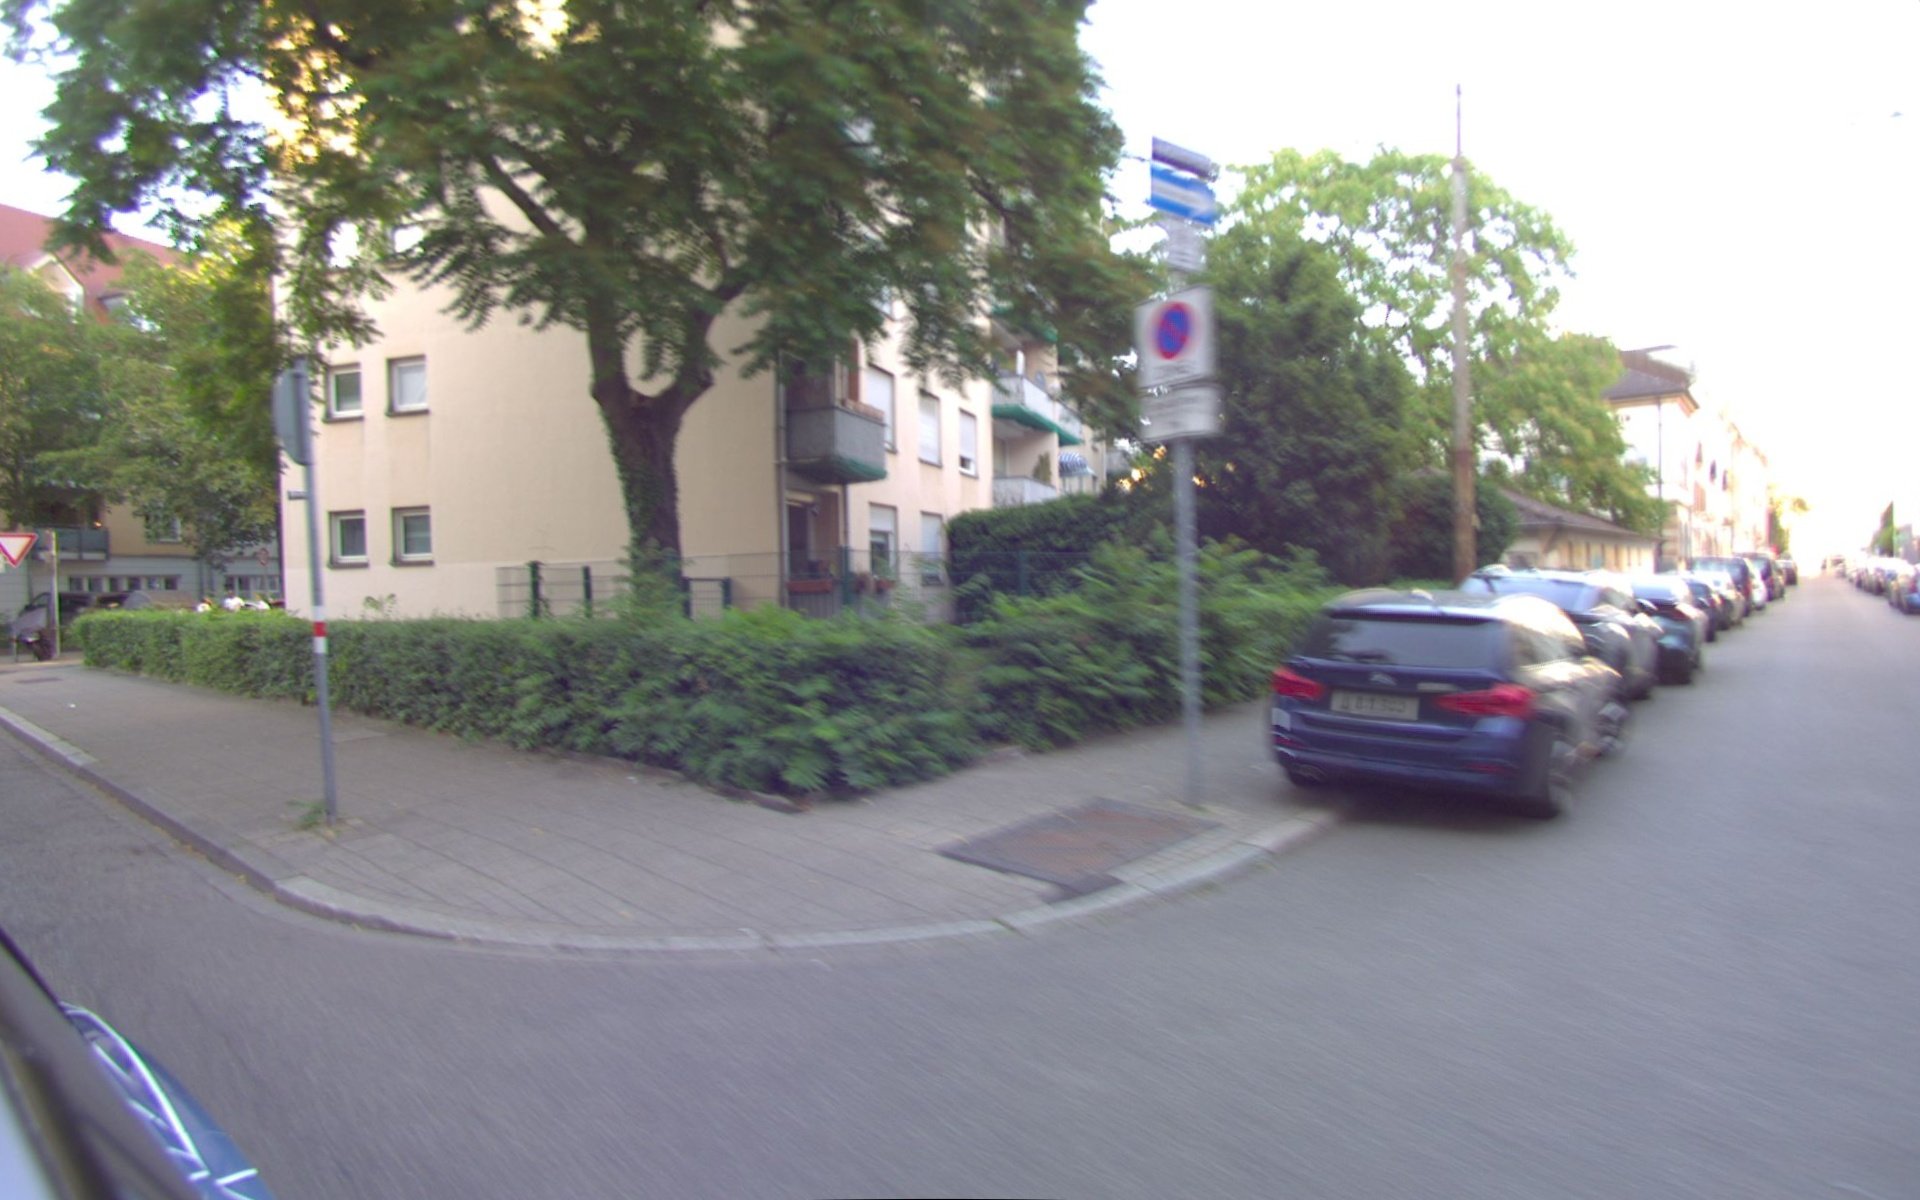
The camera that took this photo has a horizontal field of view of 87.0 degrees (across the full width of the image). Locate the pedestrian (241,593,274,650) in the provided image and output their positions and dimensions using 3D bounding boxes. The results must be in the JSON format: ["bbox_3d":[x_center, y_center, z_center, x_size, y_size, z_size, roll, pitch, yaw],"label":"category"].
[{"bbox_3d":[-19.683,0.595,28.349,0.657,1.583,0.445,-1,1,23],"label":"pedestrian"}]

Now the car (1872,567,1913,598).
[{"bbox_3d":[47.938,-0.887,52.044,1.498,1.520,3.139,-1,0,42],"label":"car"}]

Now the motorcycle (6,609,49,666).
[{"bbox_3d":[-24.102,0.940,26.177,0.712,1.384,2.228,-1,0,-41],"label":"motorcycle"}]

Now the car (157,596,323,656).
[{"bbox_3d":[-22.692,0.808,31.905,4.478,1.593,2.042,-3,0,20],"label":"car"}]

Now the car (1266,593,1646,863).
[{"bbox_3d":[4.011,0.692,7.752,1.684,1.469,4.301,-1,0,39],"label":"car"}]

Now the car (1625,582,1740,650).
[{"bbox_3d":[17.236,0.325,24.080,1.845,1.496,3.848,0,0,41],"label":"car"}]

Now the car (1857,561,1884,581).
[{"bbox_3d":[69.772,-2.209,77.561,1.498,1.520,3.139,-1,0,42],"label":"car"}]

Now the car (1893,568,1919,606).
[{"bbox_3d":[40.218,-0.559,42.474,1.498,1.520,3.139,-1,0,42],"label":"car"}]

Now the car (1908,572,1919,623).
[{"bbox_3d":[30.694,-0.114,31.595,1.498,1.532,3.139,-1,0,42],"label":"car"}]

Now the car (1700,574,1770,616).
[{"bbox_3d":[29.196,-0.205,38.086,1.845,1.496,3.848,0,0,41],"label":"car"}]

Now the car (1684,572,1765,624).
[{"bbox_3d":[25.344,-0.081,33.511,1.845,1.621,3.848,0,0,41],"label":"car"}]

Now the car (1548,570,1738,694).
[{"bbox_3d":[10.706,0.412,15.723,1.828,1.652,4.323,-1,0,42],"label":"car"}]

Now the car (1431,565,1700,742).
[{"bbox_3d":[7.120,0.481,11.681,1.828,1.652,4.323,-1,0,42],"label":"car"}]

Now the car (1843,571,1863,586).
[{"bbox_3d":[90.541,-2.179,102.592,1.498,1.520,3.139,-1,0,42],"label":"car"}]

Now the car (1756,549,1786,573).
[{"bbox_3d":[70.012,-3.365,87.365,1.845,1.975,3.848,0,0,41],"label":"car"}]

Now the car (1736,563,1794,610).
[{"bbox_3d":[36.101,-0.599,45.343,1.845,1.975,3.848,0,0,41],"label":"car"}]

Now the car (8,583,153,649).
[{"bbox_3d":[-32.429,0.537,37.322,4.599,2.149,2.024,3,1,19],"label":"car"}]

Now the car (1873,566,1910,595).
[{"bbox_3d":[52.293,-1.081,56.848,1.498,1.520,3.139,-1,0,42],"label":"car"}]

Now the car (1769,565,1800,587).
[{"bbox_3d":[59.165,-1.707,72.594,1.498,1.520,3.139,-1,0,42],"label":"car"}]

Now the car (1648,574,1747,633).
[{"bbox_3d":[20.210,0.069,27.665,1.845,1.496,3.848,0,0,41],"label":"car"}]

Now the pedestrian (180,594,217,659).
[{"bbox_3d":[-21.603,0.740,28.717,0.686,1.801,0.531,-1,0,-22],"label":"pedestrian"}]

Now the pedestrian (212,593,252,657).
[{"bbox_3d":[-20.914,0.723,29.082,0.694,1.801,0.660,-1,0,23],"label":"pedestrian"}]

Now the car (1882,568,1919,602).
[{"bbox_3d":[44.422,-0.728,47.624,1.498,1.520,3.139,-1,0,42],"label":"car"}]

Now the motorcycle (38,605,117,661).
[{"bbox_3d":[-24.722,0.926,28.337,2.208,1.505,0.686,-1,0,21],"label":"motorcycle"}]
